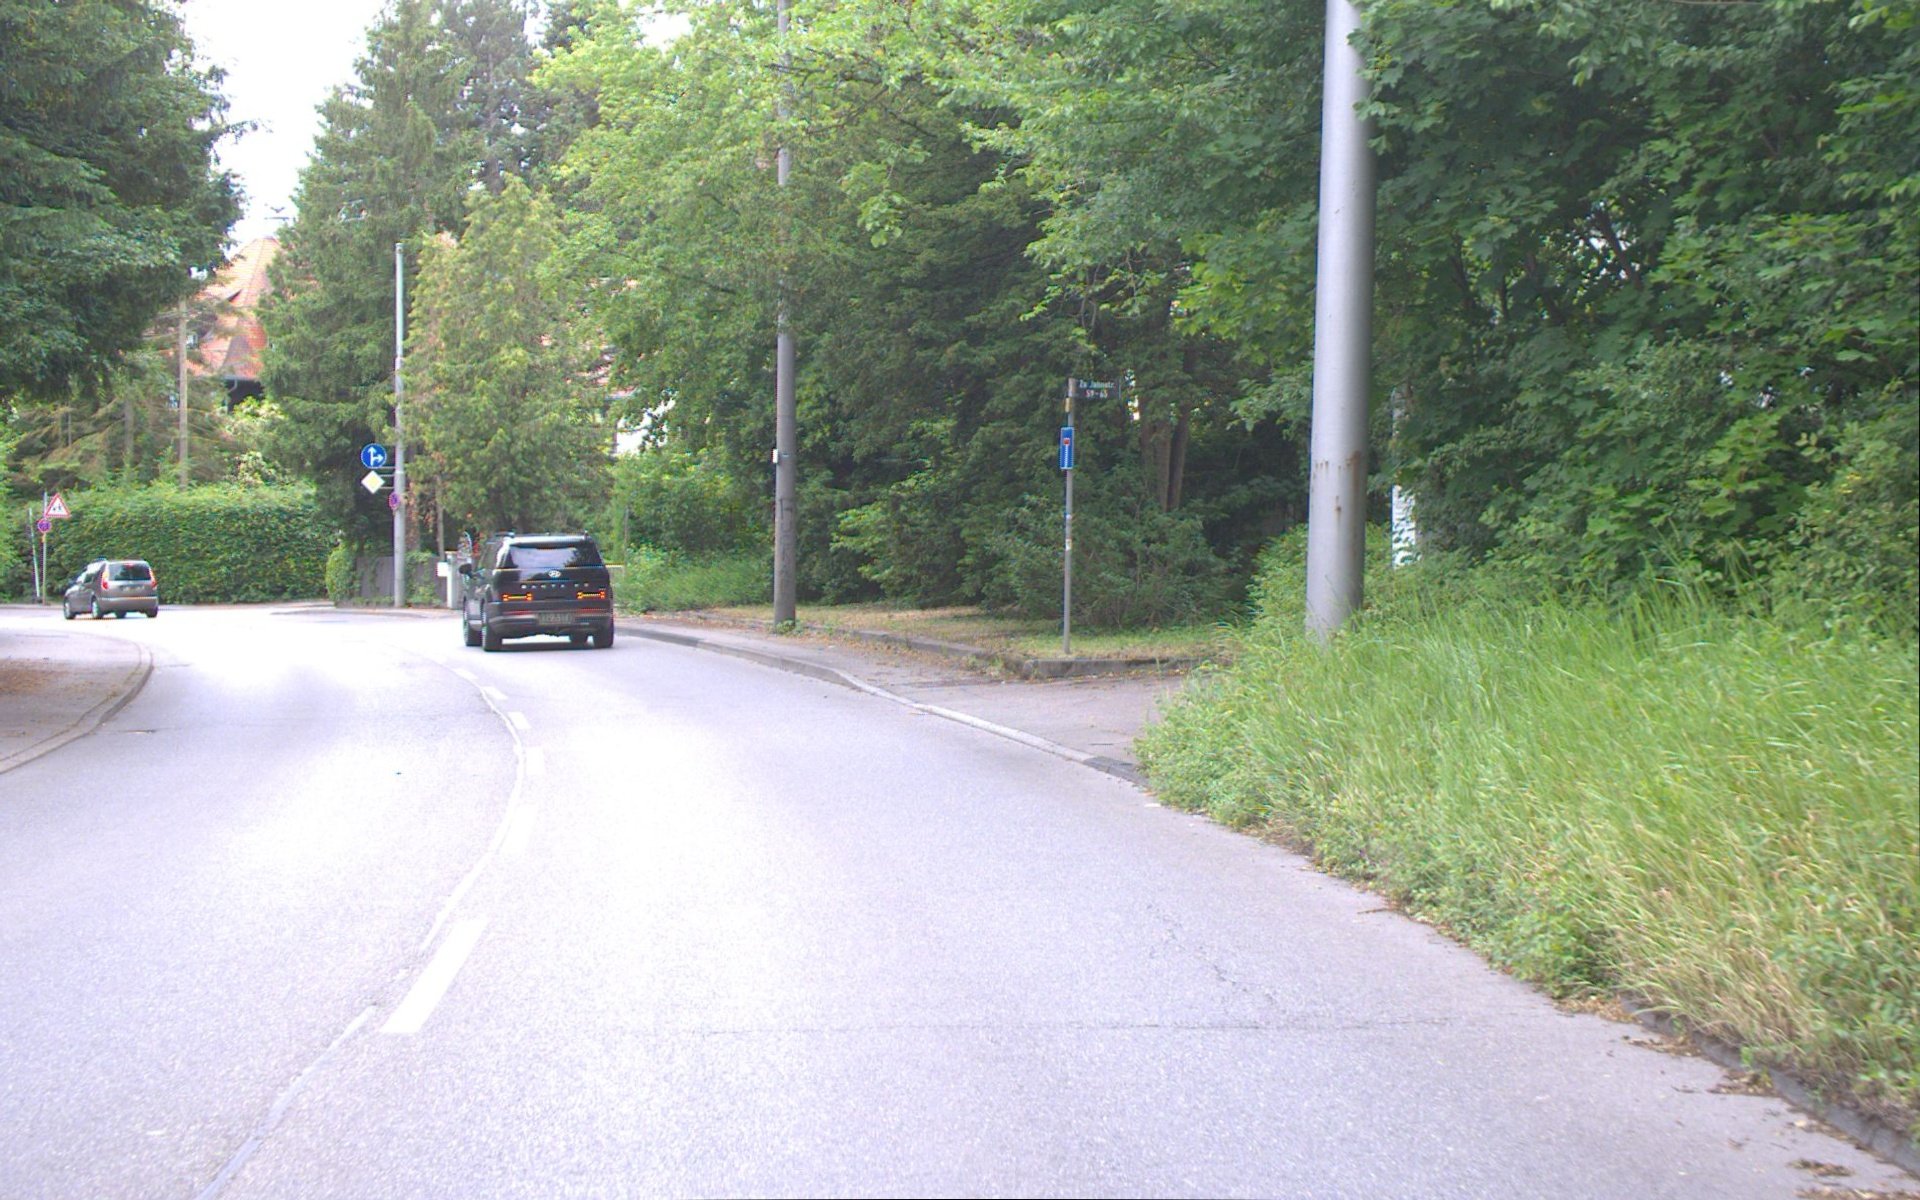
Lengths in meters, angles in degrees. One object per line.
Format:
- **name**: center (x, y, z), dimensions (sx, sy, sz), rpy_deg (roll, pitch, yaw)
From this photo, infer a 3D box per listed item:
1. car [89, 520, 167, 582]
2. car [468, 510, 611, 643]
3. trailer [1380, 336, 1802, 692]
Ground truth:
- **car**: center (-22.651, -1.349, 93.572), dimensions (1.993, 1.612, 4.002), rpy_deg (0, 2, -14)
- **car**: center (-6.279, -0.395, 51.670), dimensions (1.993, 1.875, 4.001), rpy_deg (1, 2, -5)
- **trailer**: center (5.291, -0.722, 28.969), dimensions (3.115, 2.889, 1.593), rpy_deg (-1, 1, -10)
